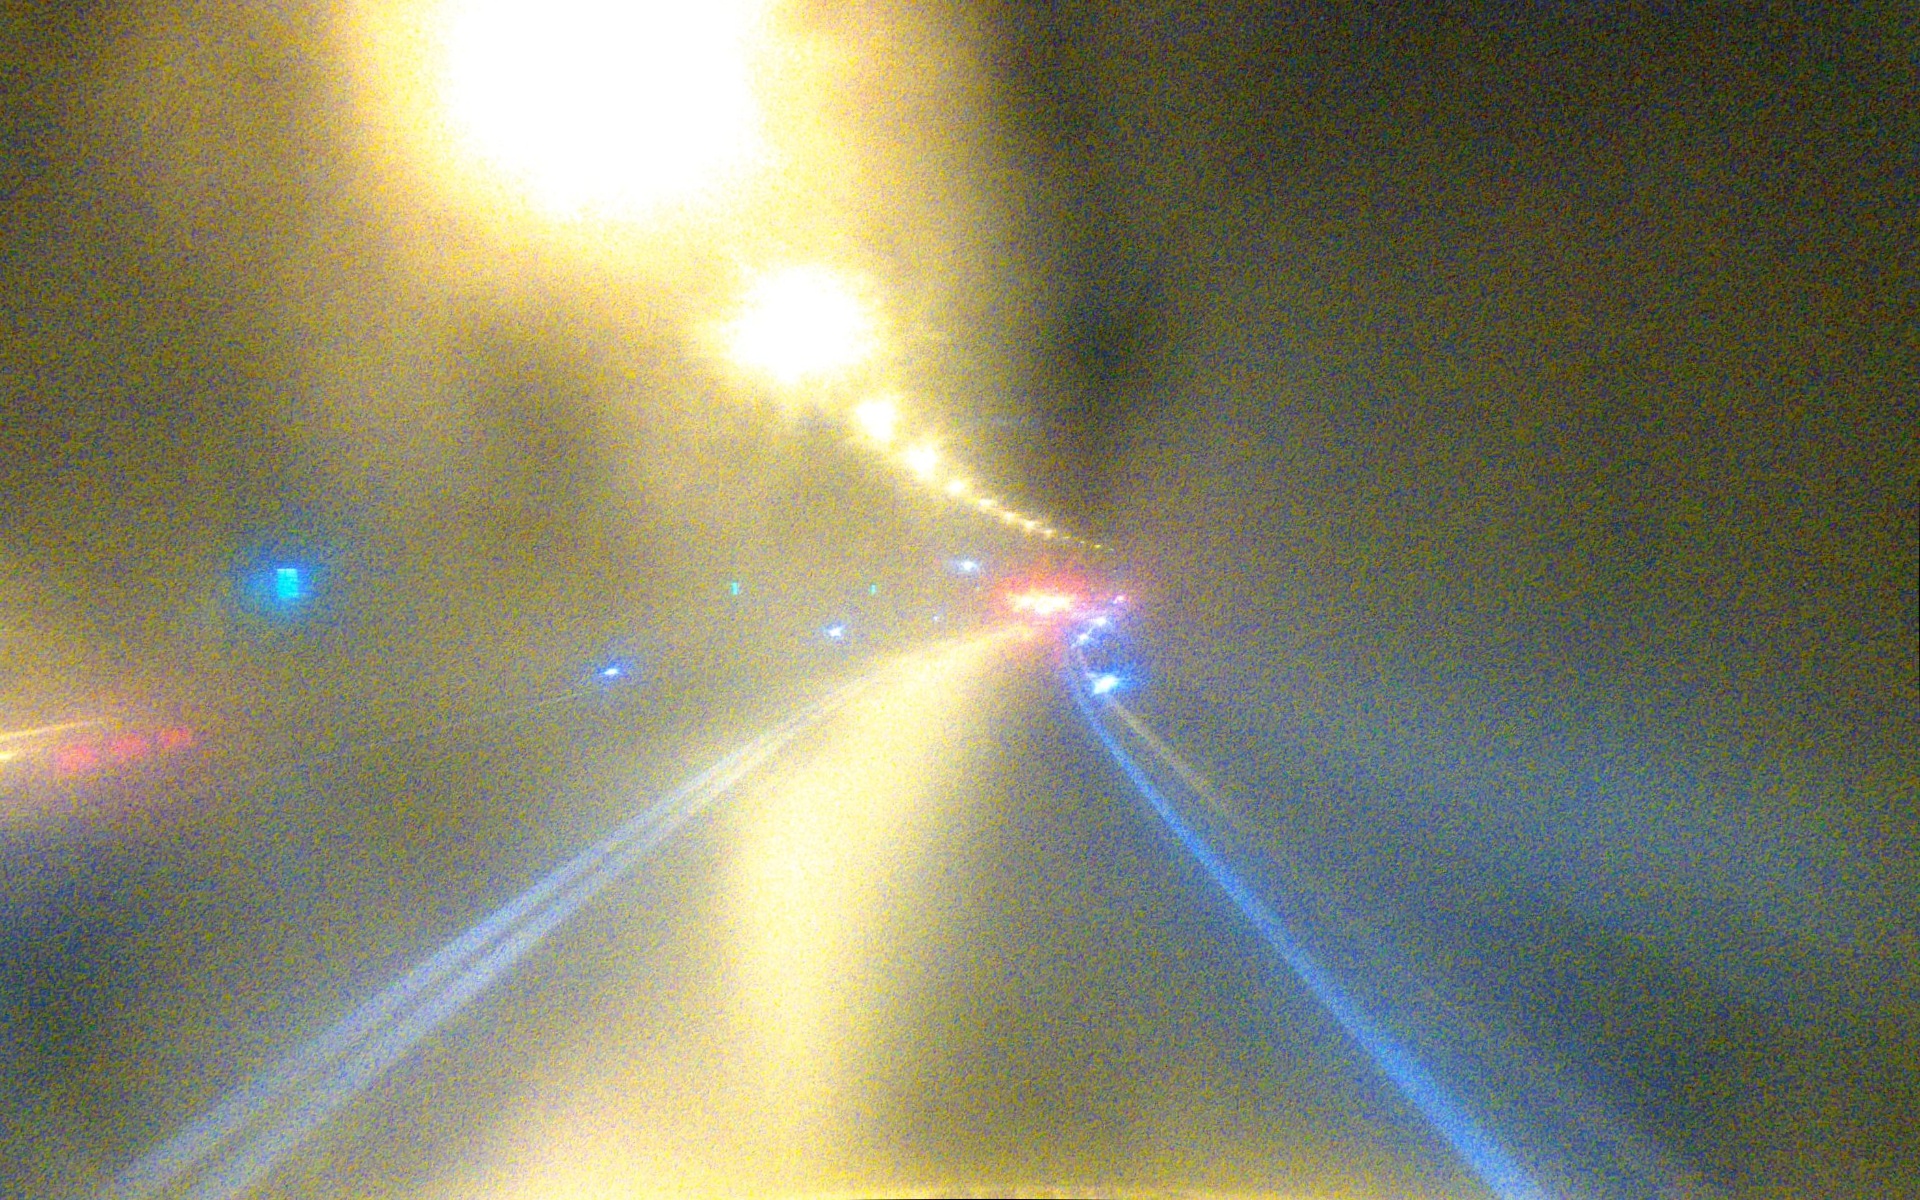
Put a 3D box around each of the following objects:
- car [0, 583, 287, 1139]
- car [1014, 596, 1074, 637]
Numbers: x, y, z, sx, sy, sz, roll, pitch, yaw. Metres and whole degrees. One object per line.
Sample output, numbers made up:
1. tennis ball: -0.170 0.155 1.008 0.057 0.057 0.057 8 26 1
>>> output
1. car: -3.357 0.664 3.648 1.797 1.407 4.646 2 0 0
2. car: 3.705 0.708 72.632 2.045 1.691 4.003 2 0 11
